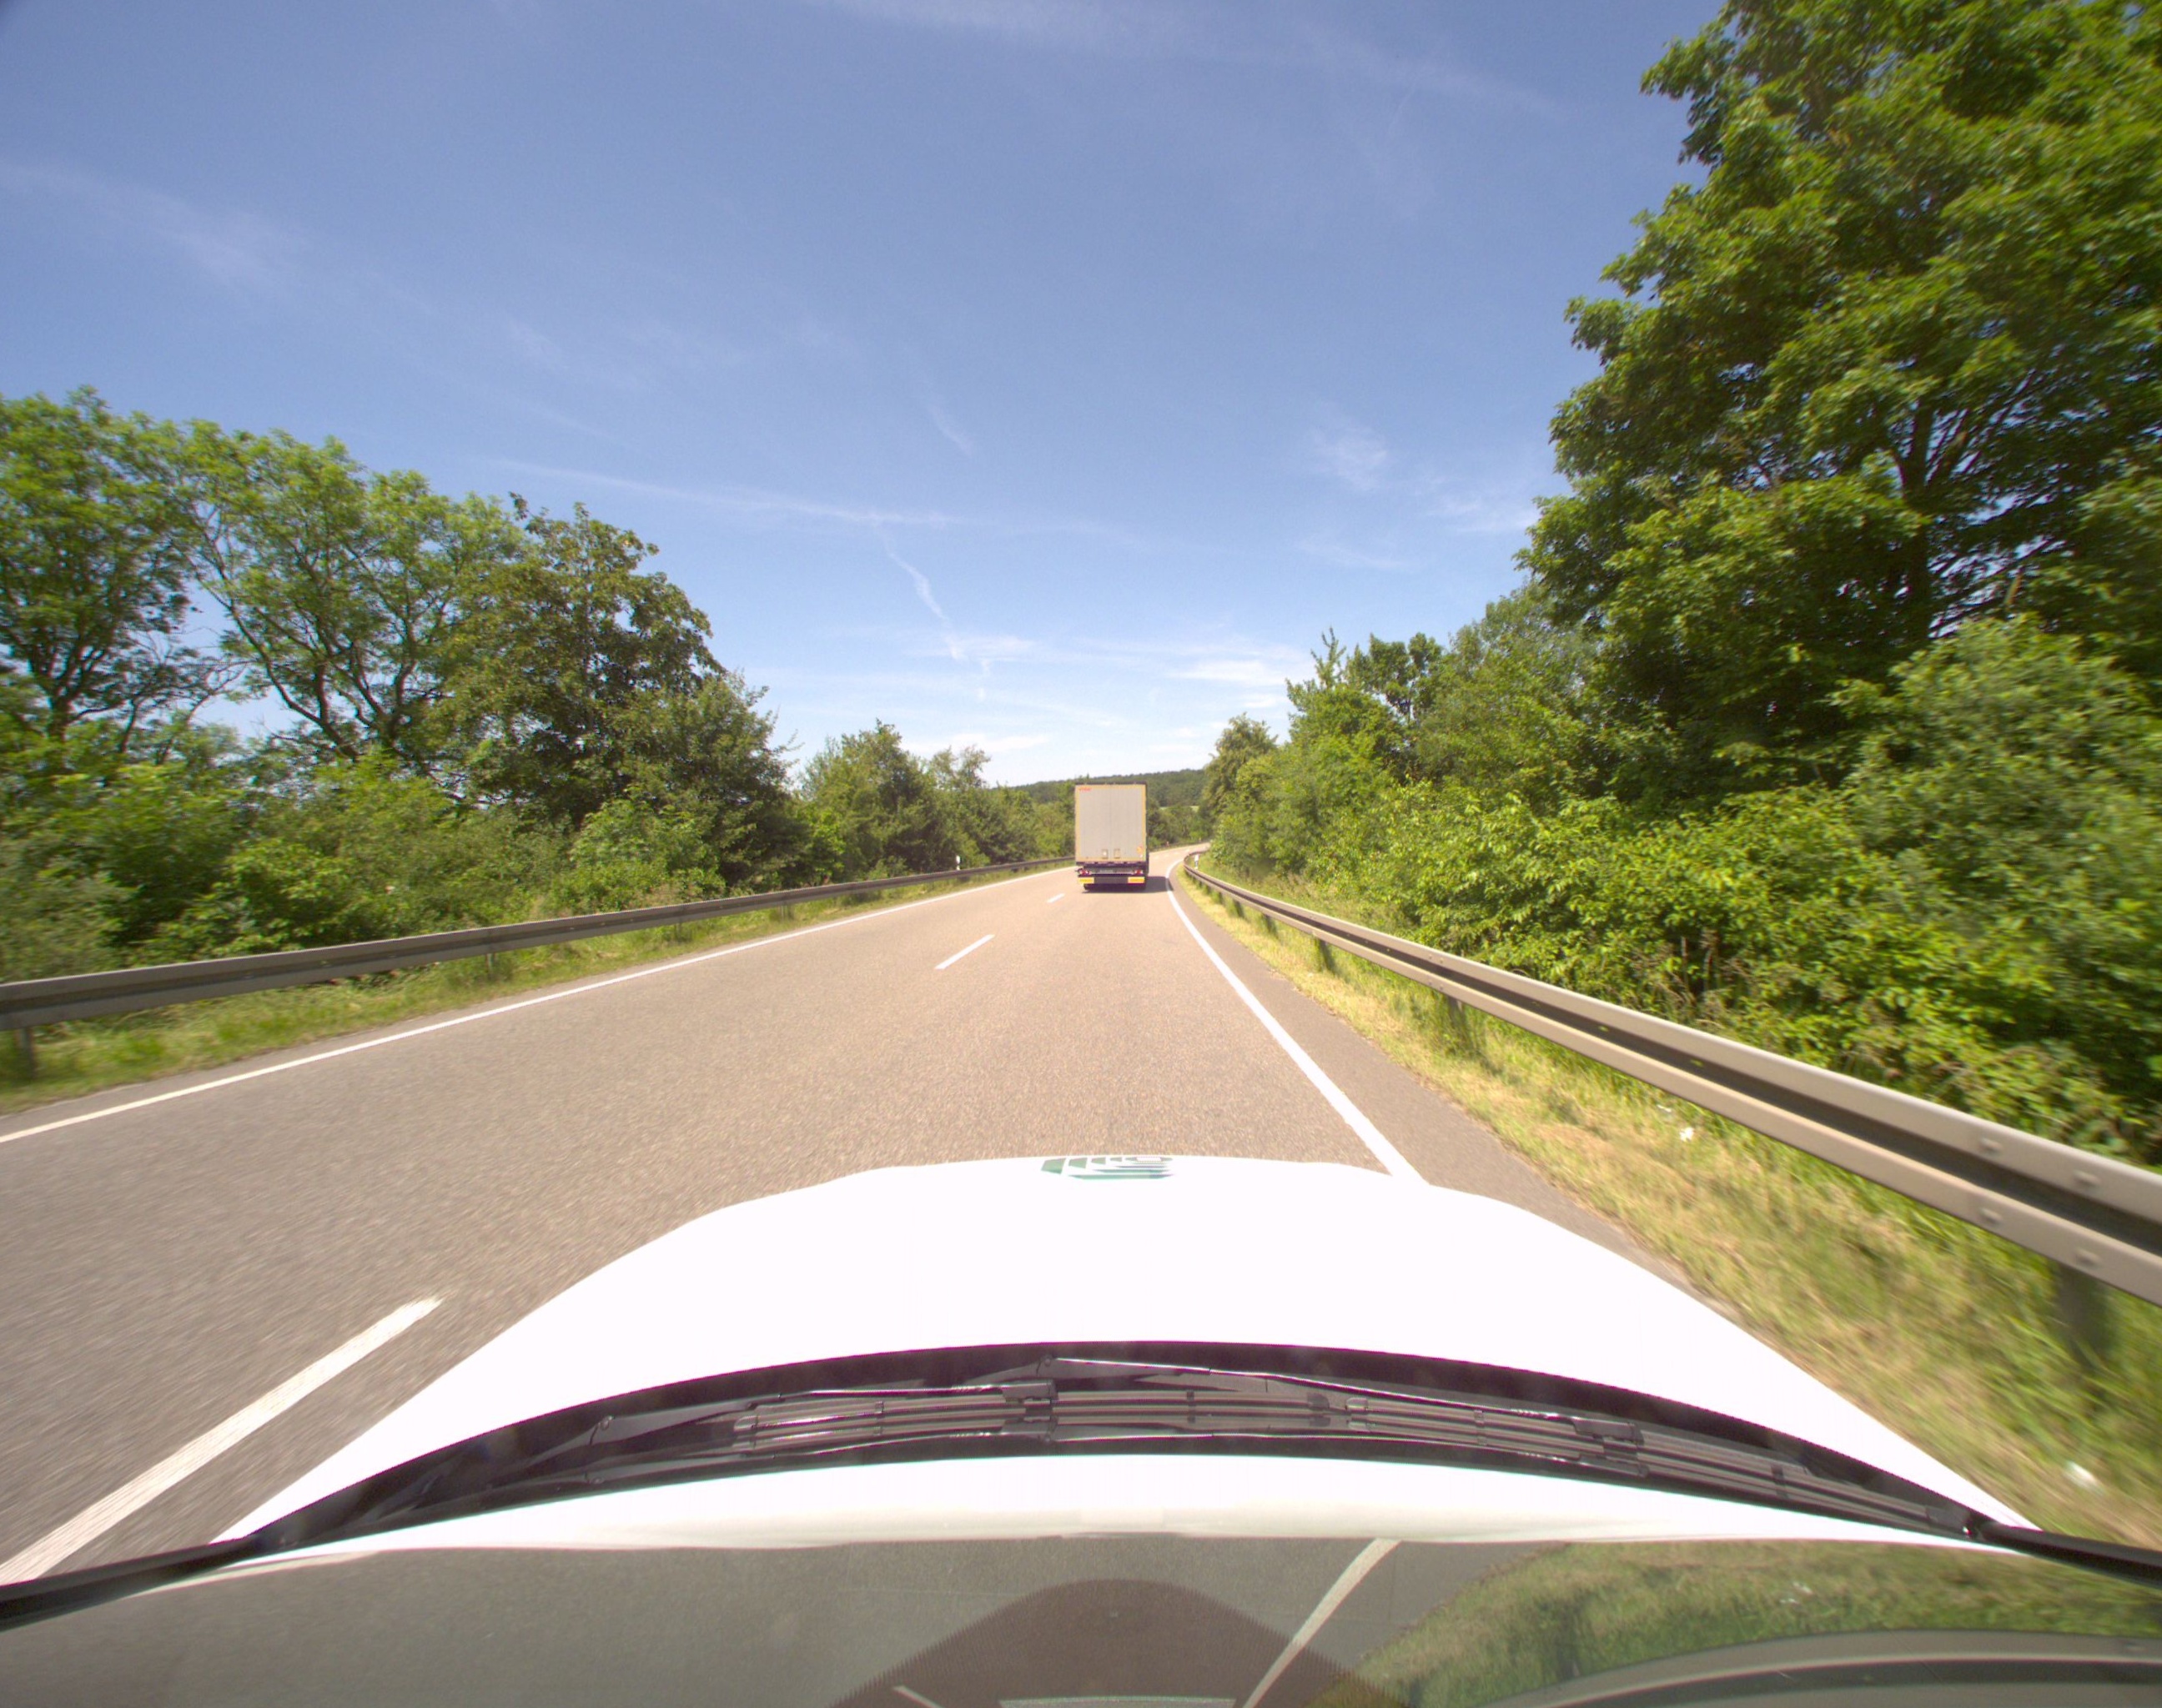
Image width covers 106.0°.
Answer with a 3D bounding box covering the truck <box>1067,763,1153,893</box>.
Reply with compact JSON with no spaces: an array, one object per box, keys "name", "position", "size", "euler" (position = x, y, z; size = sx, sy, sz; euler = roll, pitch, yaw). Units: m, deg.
[{"name":"truck","position":[1.518,-0.940,34.475],"size":[2.803,4.532,11.787],"euler":[-1,0,6]}]
